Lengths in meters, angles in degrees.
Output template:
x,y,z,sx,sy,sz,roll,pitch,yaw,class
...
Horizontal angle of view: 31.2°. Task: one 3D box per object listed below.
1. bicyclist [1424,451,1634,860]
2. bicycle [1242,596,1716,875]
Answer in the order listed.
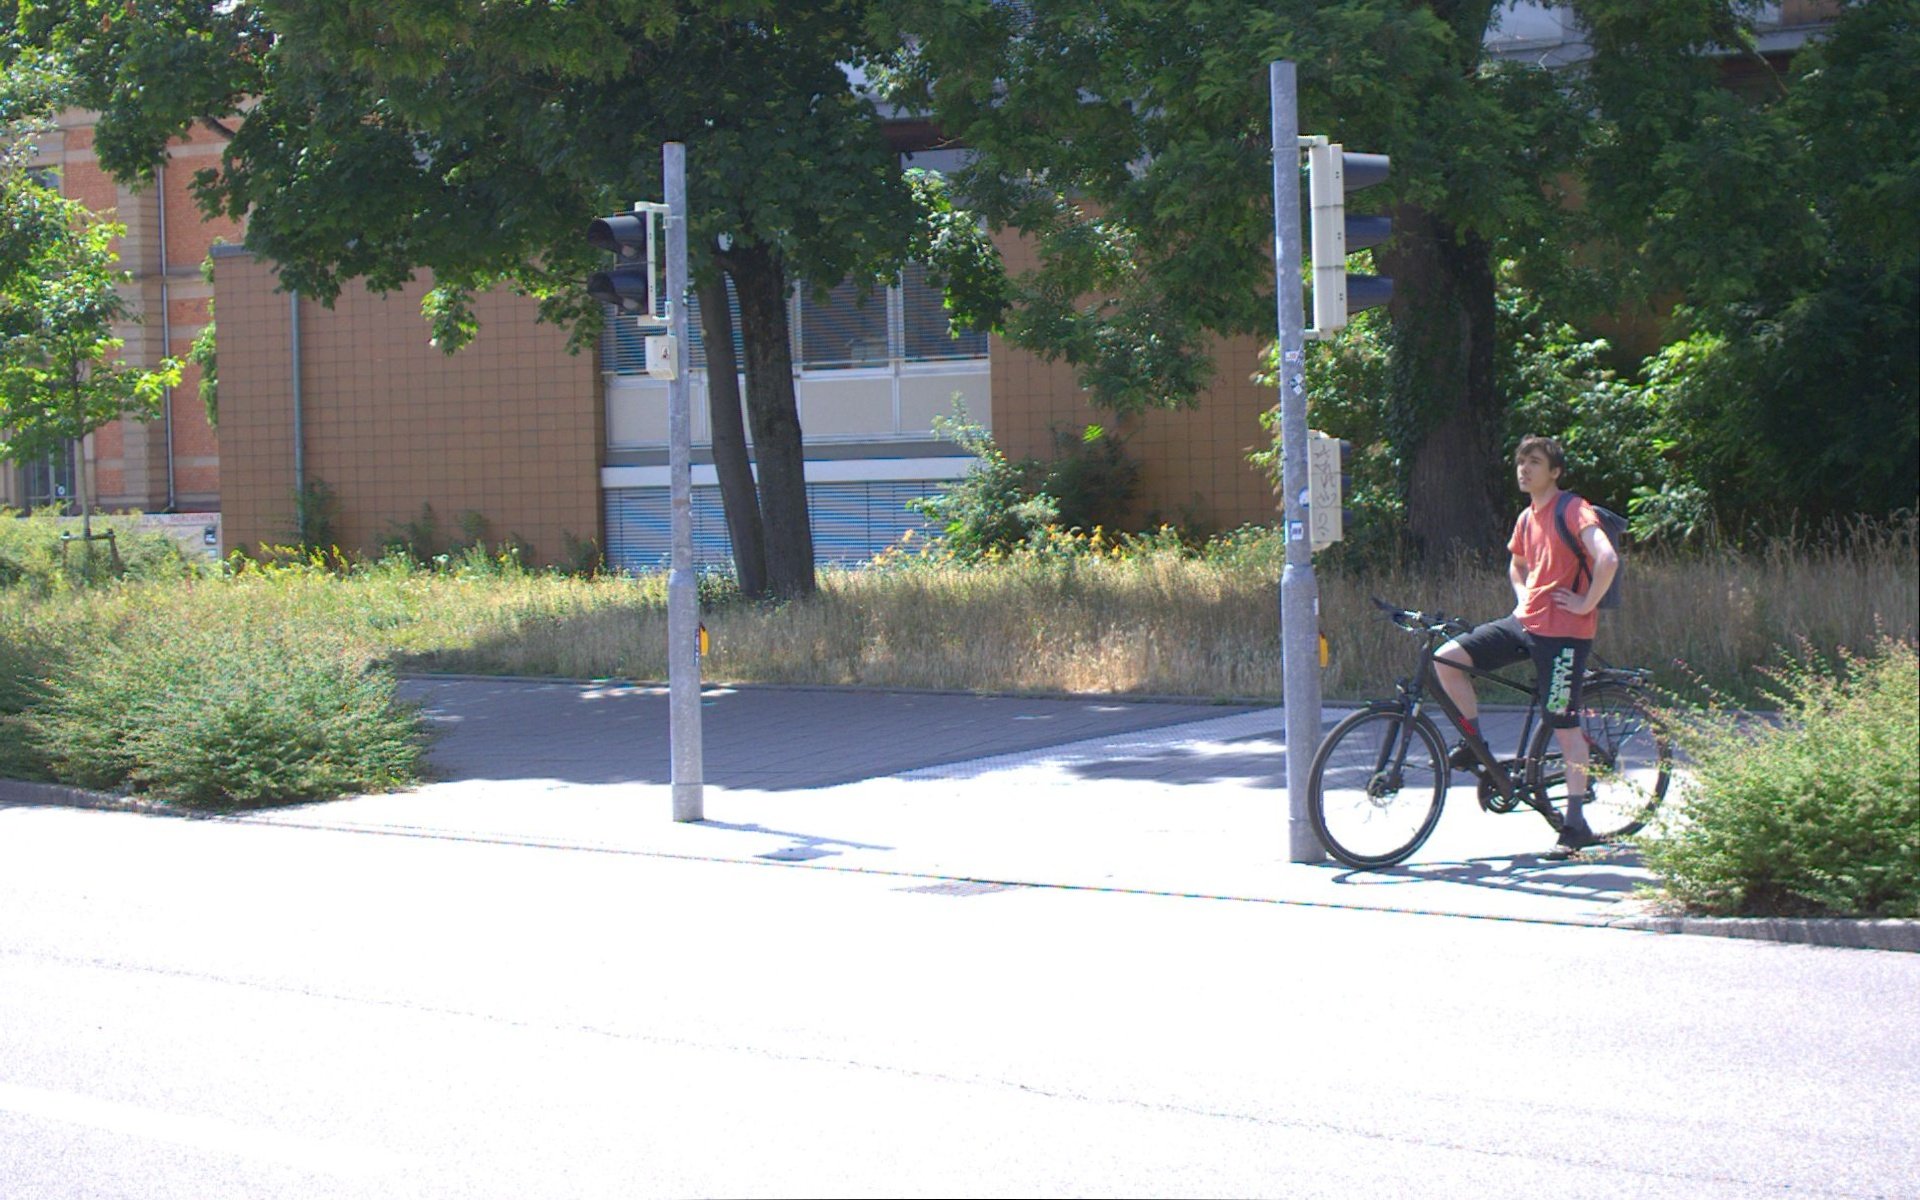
x,y,z,sx,sy,sz,roll,pitch,yaw,class
2.466,0.220,14.920,0.700,1.709,0.552,-2,4,-21,bicyclist
2.251,0.563,14.859,1.990,1.041,0.559,-3,4,-20,bicycle
